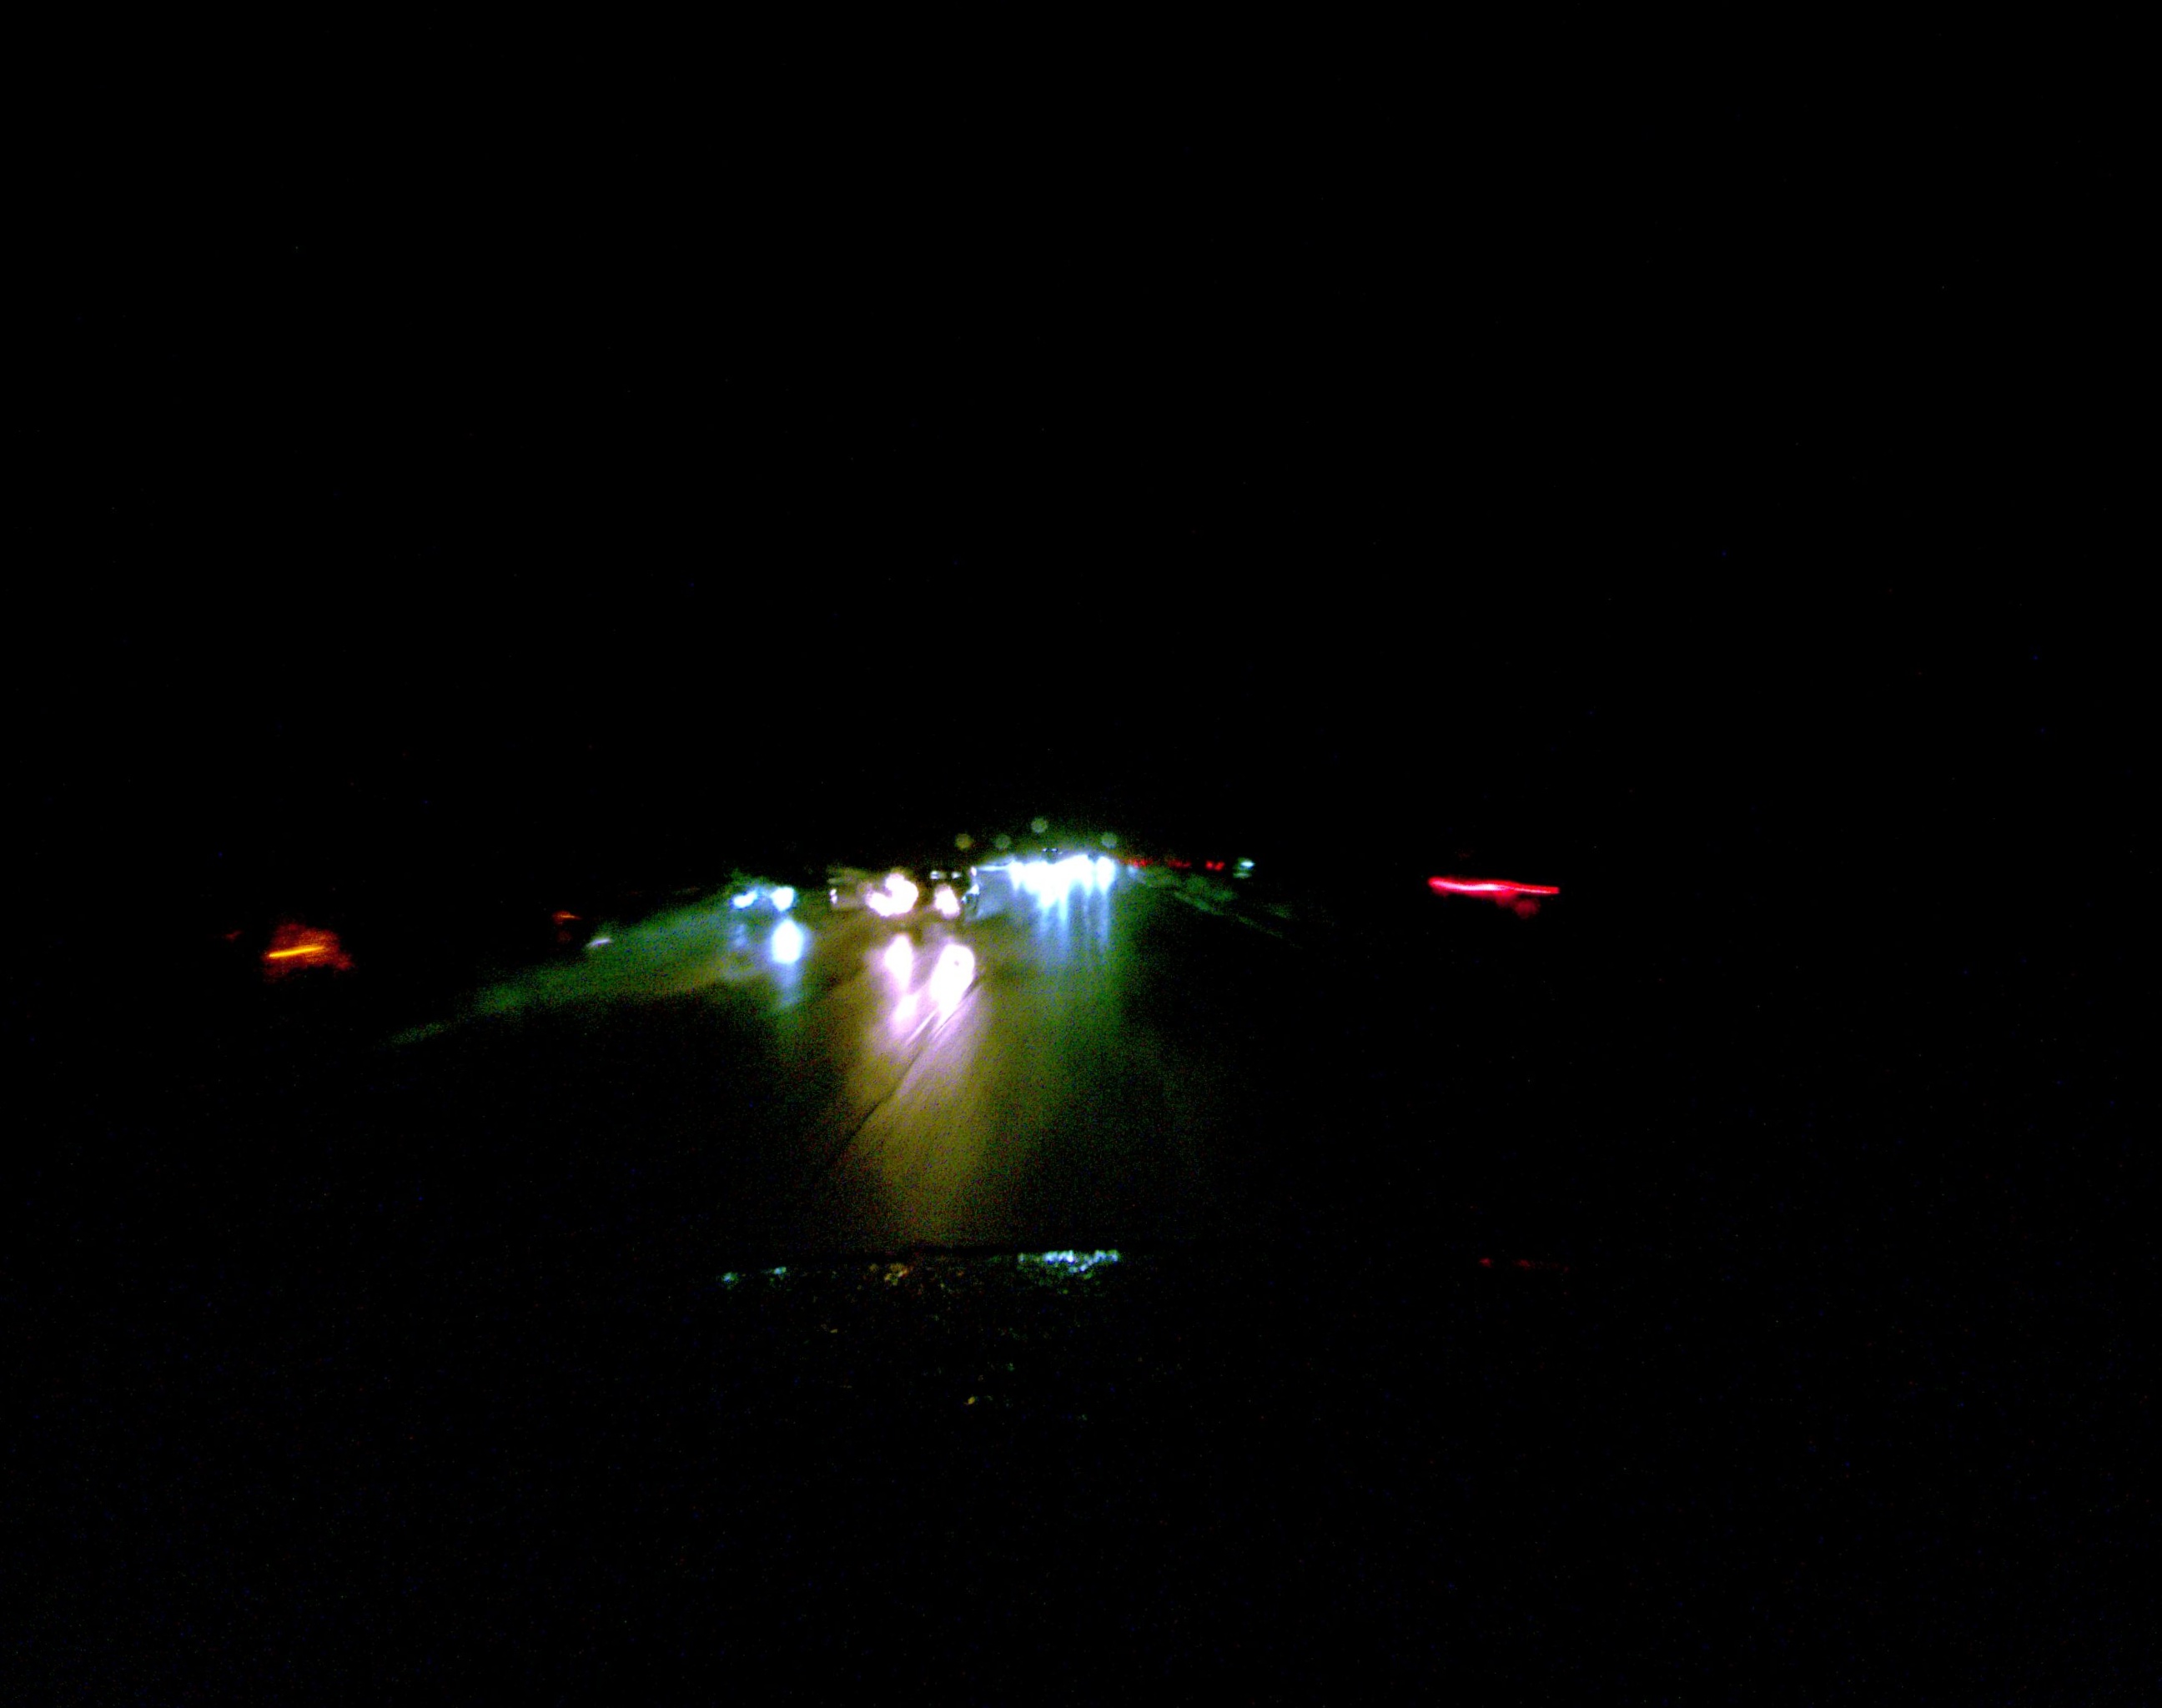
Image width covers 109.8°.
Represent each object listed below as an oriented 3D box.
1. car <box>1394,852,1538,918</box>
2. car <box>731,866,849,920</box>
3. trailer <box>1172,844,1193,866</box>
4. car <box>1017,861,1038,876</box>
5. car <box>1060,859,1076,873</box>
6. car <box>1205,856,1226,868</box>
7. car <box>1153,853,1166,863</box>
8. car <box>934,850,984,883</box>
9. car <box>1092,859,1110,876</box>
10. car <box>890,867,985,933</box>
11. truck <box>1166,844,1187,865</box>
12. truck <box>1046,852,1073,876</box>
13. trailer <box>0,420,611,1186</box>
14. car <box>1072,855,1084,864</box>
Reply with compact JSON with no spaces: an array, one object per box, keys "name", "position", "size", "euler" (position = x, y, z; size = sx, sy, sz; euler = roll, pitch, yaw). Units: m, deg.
[{"name":"car","position":[10.110,0.741,20.377],"size":[1.714,1.554,4.295],"euler":[0,1,0]},{"name":"car","position":[-9.302,1.189,24.790],"size":[1.899,1.477,4.962],"euler":[-2,0,0]},{"name":"trailer","position":[19.613,0.156,147.730],"size":[2.947,4.252,8.936],"euler":[1,1,1]},{"name":"car","position":[-5.697,1.526,81.108],"size":[1.747,1.470,5.366],"euler":[-2,0,1]},{"name":"car","position":[-1.564,1.464,91.529],"size":[1.619,1.494,3.768],"euler":[-2,0,2]},{"name":"car","position":[18.363,1.090,103.929],"size":[1.998,1.492,4.965],"euler":[-2,0,1]},{"name":"car","position":[15.369,0.834,149.222],"size":[2.067,1.813,4.880],"euler":[-2,0,1]},{"name":"car","position":[-7.702,0.763,48.450],"size":[2.051,1.962,5.408],"euler":[1,0,3]},{"name":"car","position":[1.909,1.263,72.942],"size":[1.619,1.452,3.768],"euler":[-2,0,2]},{"name":"car","position":[-3.534,1.091,19.344],"size":[1.616,1.404,3.792],"euler":[-2,0,1]},{"name":"truck","position":[19.785,0.054,157.948],"size":[2.938,4.302,11.435],"euler":[1,1,1]},{"name":"truck","position":[-1.642,0.727,59.639],"size":[1.848,1.686,4.854],"euler":[-2,0,1]},{"name":"trailer","position":[-7.312,-0.256,3.280],"size":[2.811,4.187,12.096],"euler":[-2,0,1]},{"name":"car","position":[-0.570,1.082,146.472],"size":[1.944,1.521,4.000],"euler":[-2,0,2]}]
